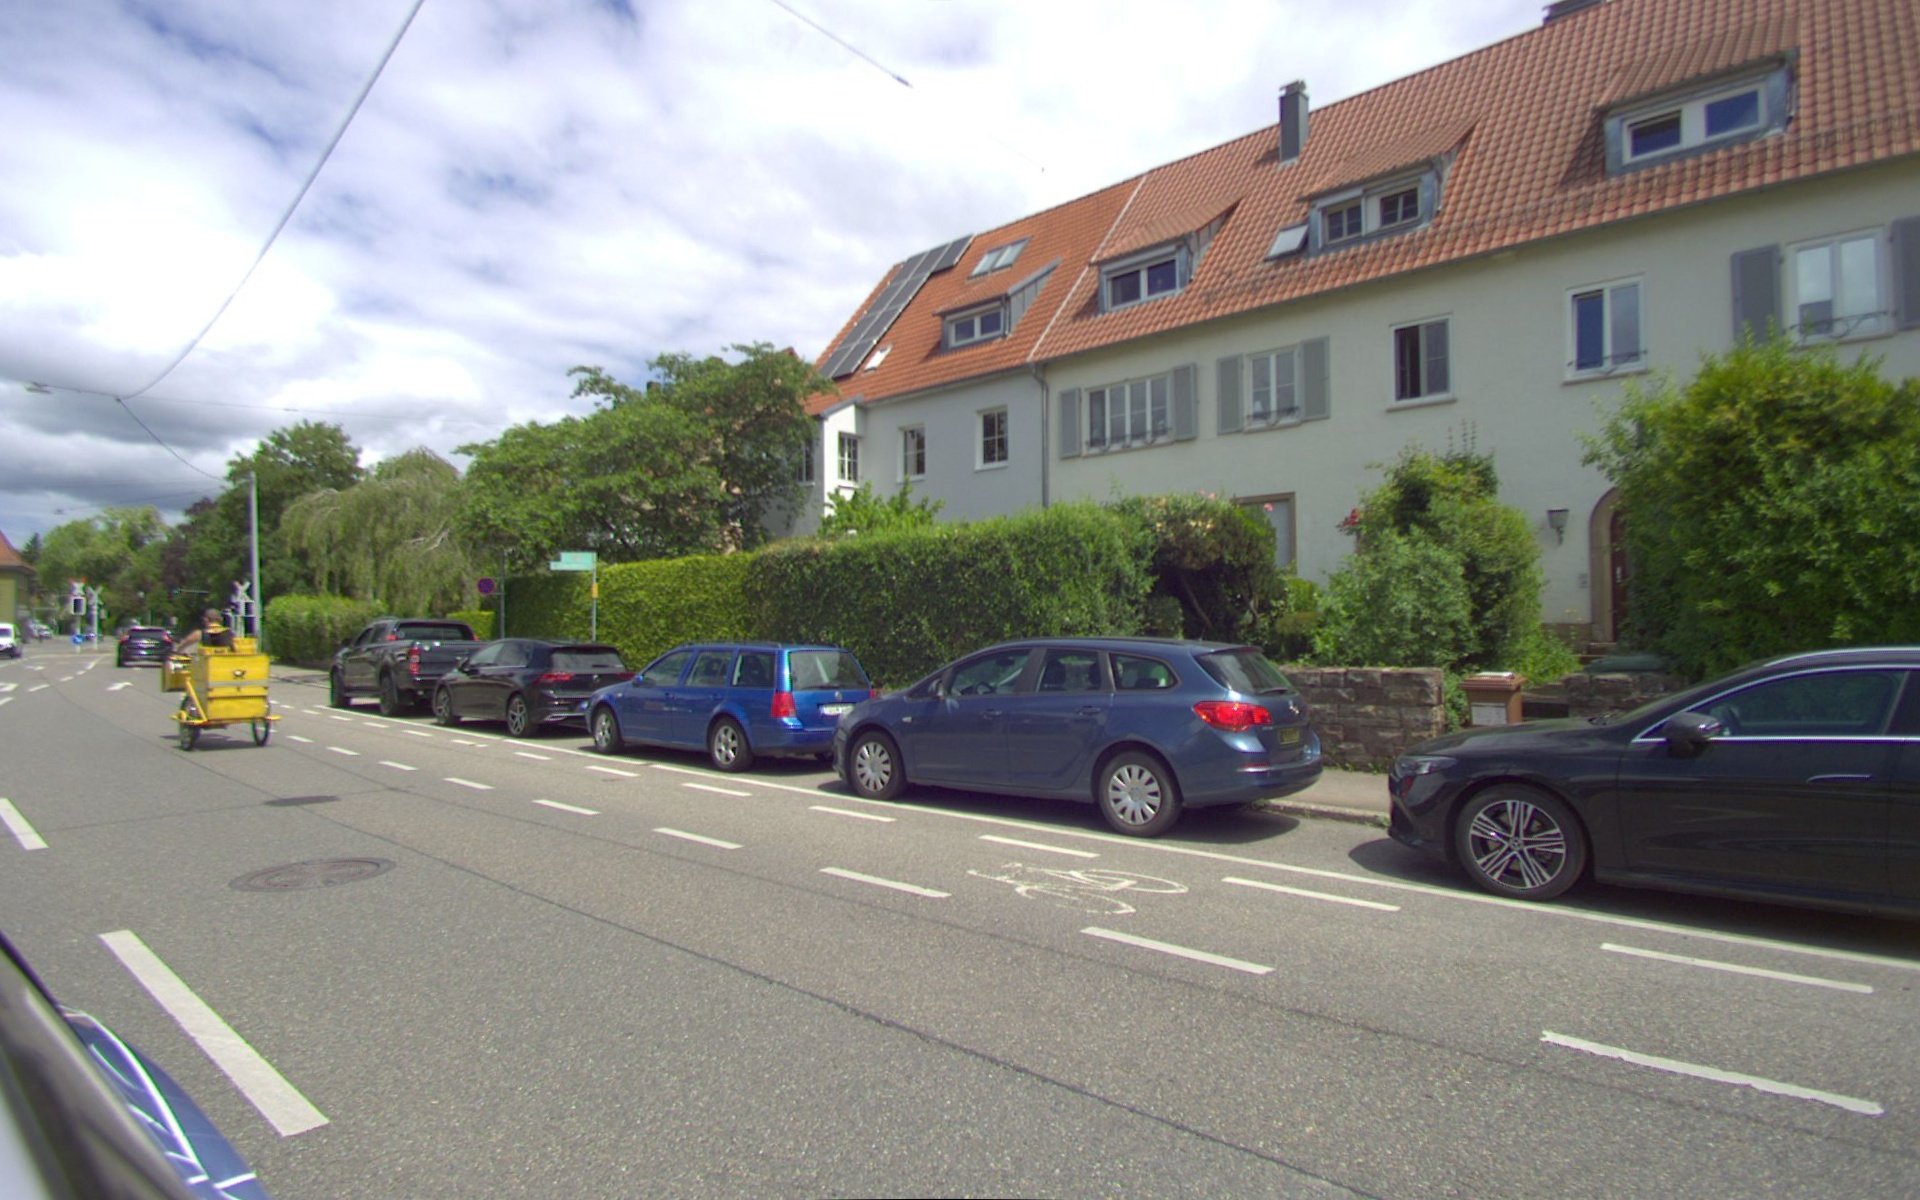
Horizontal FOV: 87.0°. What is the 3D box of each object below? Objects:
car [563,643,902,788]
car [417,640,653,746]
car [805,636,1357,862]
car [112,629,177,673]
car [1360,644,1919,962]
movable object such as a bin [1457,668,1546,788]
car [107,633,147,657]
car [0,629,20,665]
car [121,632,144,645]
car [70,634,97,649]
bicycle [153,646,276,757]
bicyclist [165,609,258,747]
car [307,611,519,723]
[{"bbox_3d":[-2.908,1.257,12.367,4.437,1.428,1.759,-2,-3,41],"label":"car"},{"bbox_3d":[-6.783,1.346,15.932,4.339,1.428,1.758,-2,-3,42],"label":"car"},{"bbox_3d":[0.866,1.067,8.863,4.559,1.503,1.761,-2,-3,38],"label":"car"},{"bbox_3d":[-33.928,2.121,42.069,1.892,1.661,4.301,6,-6,-39],"label":"car"},{"bbox_3d":[4.901,0.972,5.496,4.688,1.419,1.972,-2,-3,42],"label":"car"},{"bbox_3d":[5.031,1.166,9.400,0.634,1.010,0.571,-1,-1,37],"label":"movable object such as a bin"},{"bbox_3d":[-52.564,2.833,63.869,1.852,1.487,4.449,2,-3,-40],"label":"car"},{"bbox_3d":[-49.475,2.397,51.669,1.904,1.795,4.007,0,-1,-39],"label":"car"},{"bbox_3d":[-95.905,4.445,117.340,1.903,1.431,4.008,-1,-1,-38],"label":"car"},{"bbox_3d":[-96.543,4.540,111.522,1.968,1.438,4.008,-1,0,-37],"label":"car"},{"bbox_3d":[-9.896,1.269,13.390,2.662,1.311,0.854,-2,-3,44],"label":"bicycle"},{"bbox_3d":[-9.892,0.997,13.372,1.209,1.727,0.783,-2,-3,45],"label":"bicyclist"},{"bbox_3d":[-10.835,1.264,19.849,5.403,1.909,1.972,-2,-5,43],"label":"car"}]
